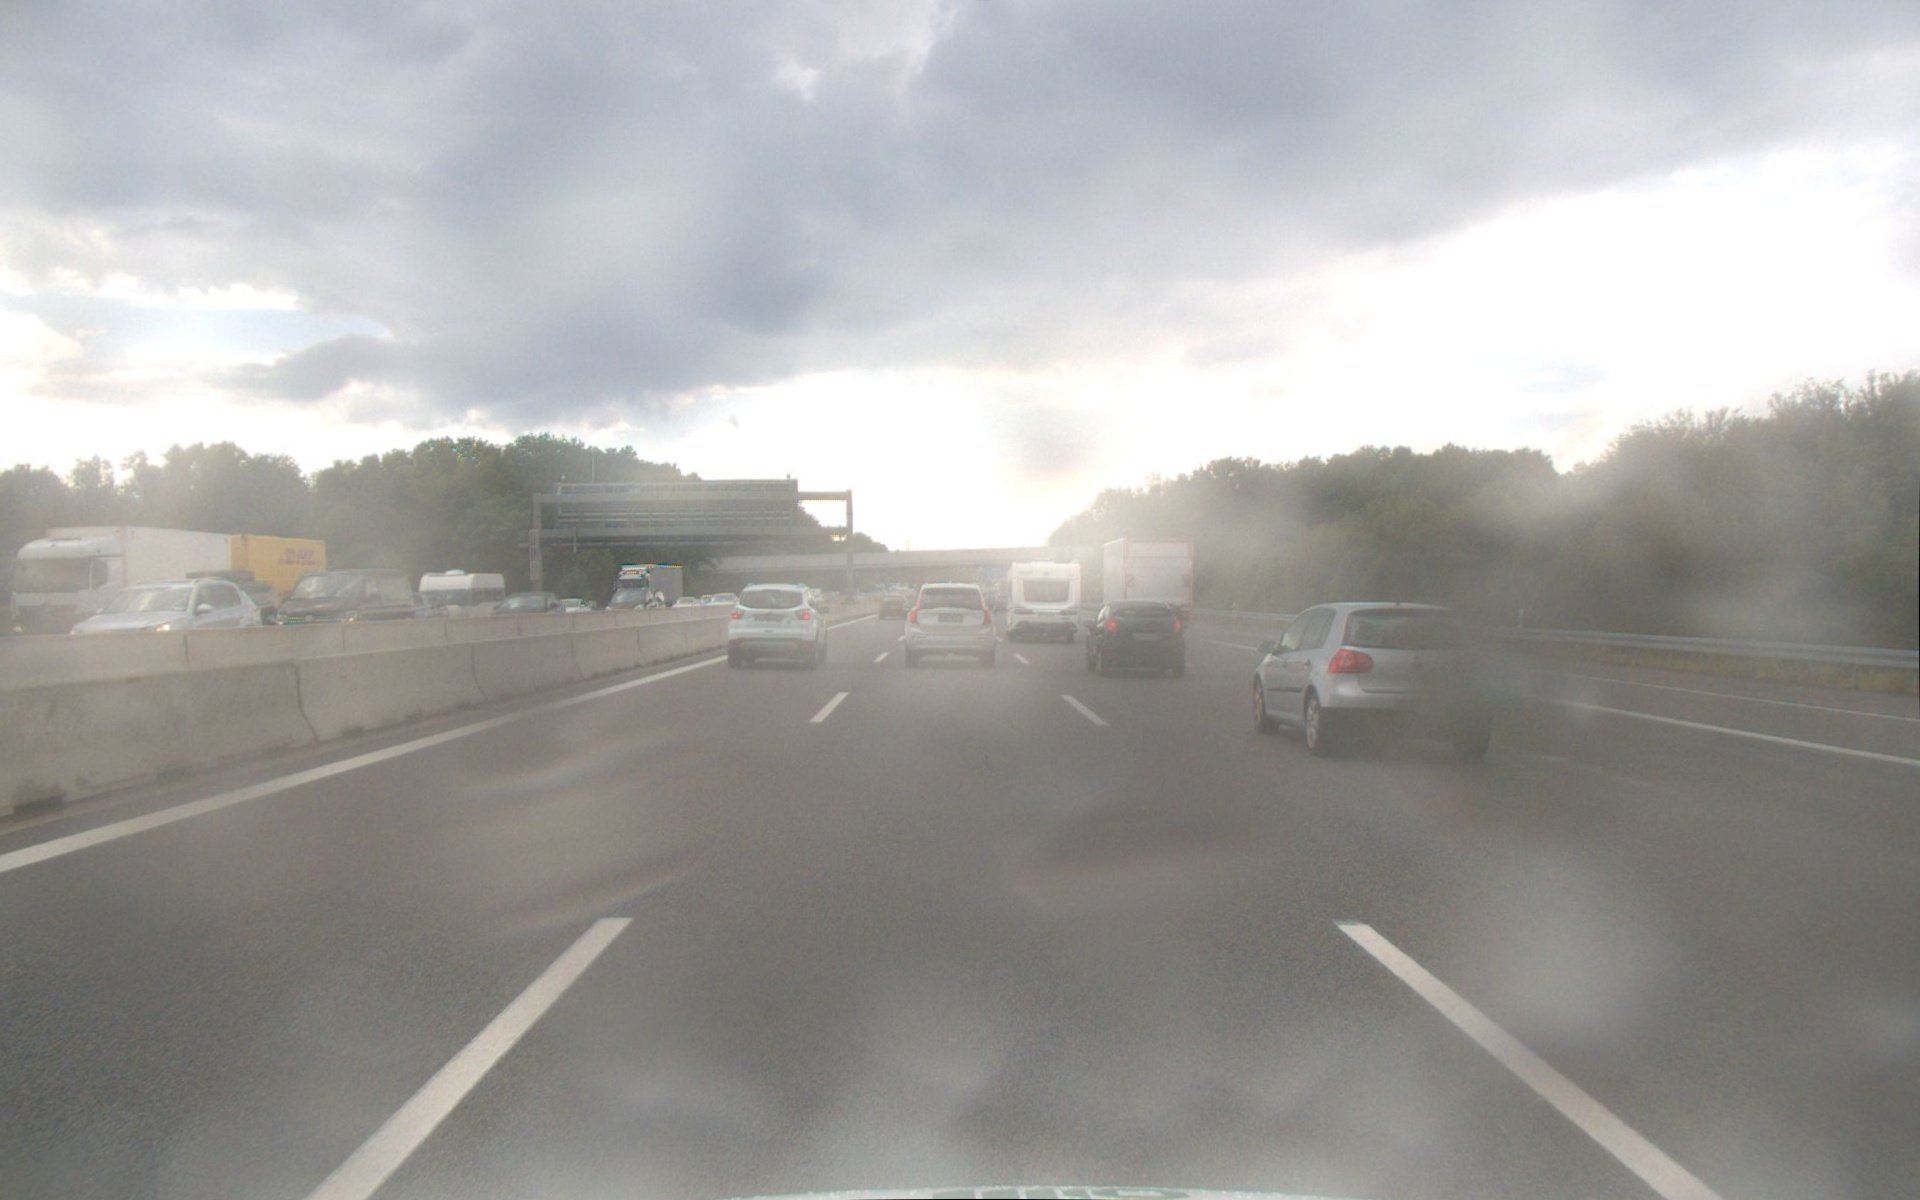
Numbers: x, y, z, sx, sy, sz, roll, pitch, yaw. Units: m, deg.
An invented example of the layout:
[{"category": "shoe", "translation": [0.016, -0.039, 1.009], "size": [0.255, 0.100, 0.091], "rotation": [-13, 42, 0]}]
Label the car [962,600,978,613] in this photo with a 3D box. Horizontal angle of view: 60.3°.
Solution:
[{"category": "car", "translation": [1.328, 0.844, 216.466], "size": [1.843, 1.715, 3.998], "rotation": [0, 0, -3]}]

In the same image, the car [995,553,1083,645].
[{"category": "car", "translation": [2.630, -0.049, 56.795], "size": [2.515, 2.946, 7.532], "rotation": [0, 0, -1]}]

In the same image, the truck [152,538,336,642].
[{"category": "truck", "translation": [-27.321, -0.361, 63.726], "size": [2.819, 3.676, 9.580], "rotation": [0, 0, 0]}]

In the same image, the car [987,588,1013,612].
[{"category": "car", "translation": [3.259, -0.015, 134.717], "size": [2.001, 1.855, 4.904], "rotation": [0, 0, 0]}]

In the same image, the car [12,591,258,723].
[{"category": "car", "translation": [-13.746, 0.877, 27.901], "size": [1.953, 2.049, 4.424], "rotation": [0, 0, -1]}]

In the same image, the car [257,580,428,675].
[{"category": "car", "translation": [-14.385, 0.588, 38.921], "size": [1.953, 2.049, 5.757], "rotation": [0, 0, -1]}]

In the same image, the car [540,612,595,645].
[{"category": "car", "translation": [-21.700, 1.553, 91.661], "size": [1.953, 1.744, 4.698], "rotation": [0, 0, -1]}]

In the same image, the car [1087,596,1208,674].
[{"category": "car", "translation": [3.651, 0.642, 32.901], "size": [1.846, 1.431, 4.281], "rotation": [0, 0, -1]}]

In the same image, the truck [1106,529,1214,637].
[{"category": "truck", "translation": [7.450, -0.615, 62.874], "size": [3.068, 3.774, 9.849], "rotation": [0, 0, 1]}]

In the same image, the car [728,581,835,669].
[{"category": "car", "translation": [-3.679, 0.461, 34.869], "size": [1.778, 1.719, 4.851], "rotation": [0, 1, -1]}]

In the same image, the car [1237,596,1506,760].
[{"category": "car", "translation": [4.135, 0.715, 17.264], "size": [1.759, 1.503, 4.037], "rotation": [0, 0, -1]}]

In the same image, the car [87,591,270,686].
[{"category": "car", "translation": [-17.916, 0.829, 38.210], "size": [1.953, 2.049, 4.813], "rotation": [0, 0, -1]}]

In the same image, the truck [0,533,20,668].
[{"category": "truck", "translation": [-25.242, 0.018, 37.340], "size": [2.850, 3.348, 9.200], "rotation": [0, 0, -1]}]

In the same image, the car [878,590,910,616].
[{"category": "car", "translation": [-3.983, 0.186, 100.104], "size": [1.744, 1.507, 4.353], "rotation": [0, 0, 0]}]

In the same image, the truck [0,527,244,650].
[{"category": "truck", "translation": [-27.385, -0.357, 54.700], "size": [2.819, 3.676, 10.312], "rotation": [0, 0, 0]}]

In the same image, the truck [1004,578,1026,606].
[{"category": "truck", "translation": [7.624, -1.092, 229.711], "size": [2.846, 3.876, 7.274], "rotation": [0, 0, 0]}]

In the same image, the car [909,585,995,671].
[{"category": "car", "translation": [-0.213, 0.565, 36.198], "size": [1.745, 1.746, 4.352], "rotation": [0, 0, -1]}]

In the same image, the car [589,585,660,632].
[{"category": "car", "translation": [-13.531, 0.316, 66.892], "size": [1.953, 1.812, 4.672], "rotation": [0, 0, -1]}]

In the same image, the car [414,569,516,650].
[{"category": "car", "translation": [-21.447, 0.395, 71.984], "size": [2.606, 3.335, 6.560], "rotation": [0, 0, -1]}]
